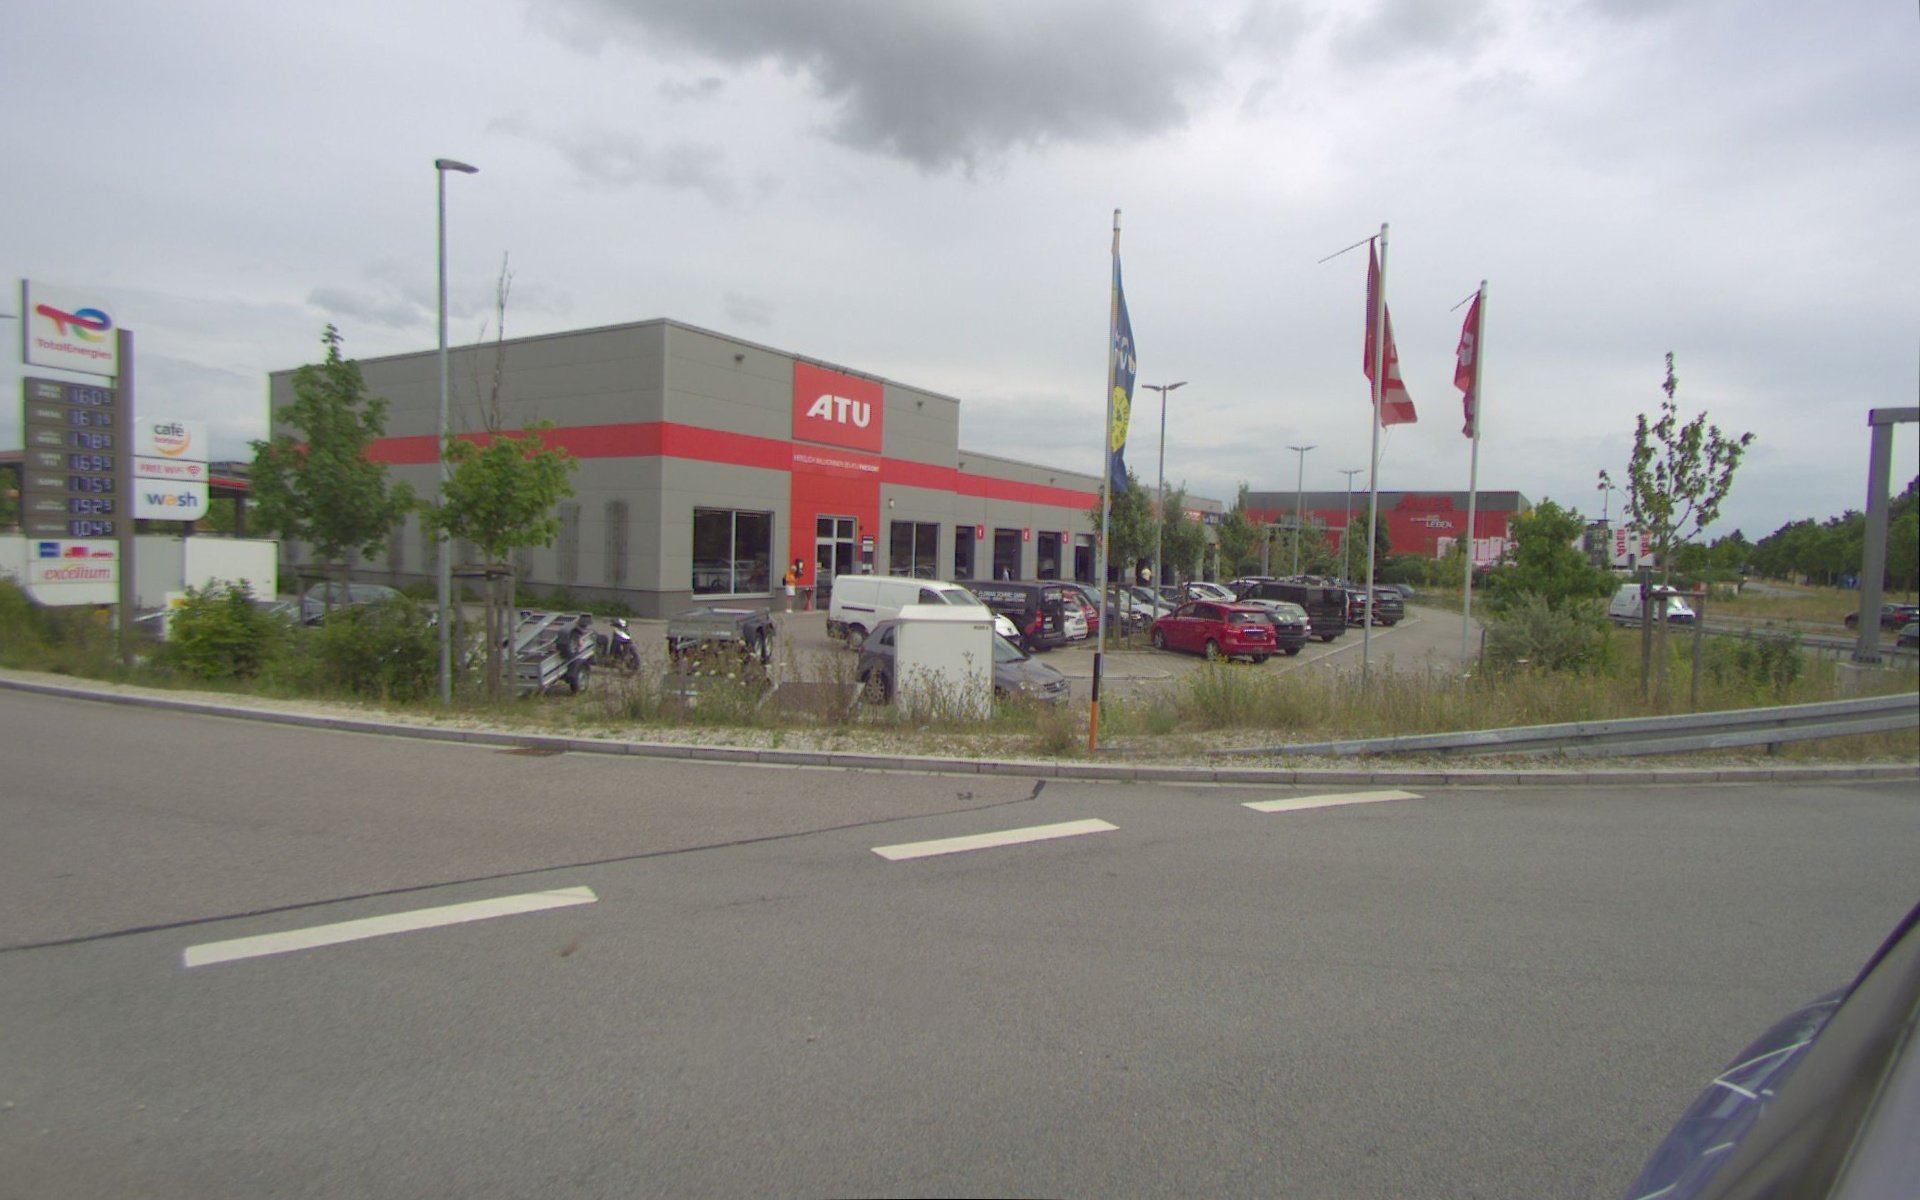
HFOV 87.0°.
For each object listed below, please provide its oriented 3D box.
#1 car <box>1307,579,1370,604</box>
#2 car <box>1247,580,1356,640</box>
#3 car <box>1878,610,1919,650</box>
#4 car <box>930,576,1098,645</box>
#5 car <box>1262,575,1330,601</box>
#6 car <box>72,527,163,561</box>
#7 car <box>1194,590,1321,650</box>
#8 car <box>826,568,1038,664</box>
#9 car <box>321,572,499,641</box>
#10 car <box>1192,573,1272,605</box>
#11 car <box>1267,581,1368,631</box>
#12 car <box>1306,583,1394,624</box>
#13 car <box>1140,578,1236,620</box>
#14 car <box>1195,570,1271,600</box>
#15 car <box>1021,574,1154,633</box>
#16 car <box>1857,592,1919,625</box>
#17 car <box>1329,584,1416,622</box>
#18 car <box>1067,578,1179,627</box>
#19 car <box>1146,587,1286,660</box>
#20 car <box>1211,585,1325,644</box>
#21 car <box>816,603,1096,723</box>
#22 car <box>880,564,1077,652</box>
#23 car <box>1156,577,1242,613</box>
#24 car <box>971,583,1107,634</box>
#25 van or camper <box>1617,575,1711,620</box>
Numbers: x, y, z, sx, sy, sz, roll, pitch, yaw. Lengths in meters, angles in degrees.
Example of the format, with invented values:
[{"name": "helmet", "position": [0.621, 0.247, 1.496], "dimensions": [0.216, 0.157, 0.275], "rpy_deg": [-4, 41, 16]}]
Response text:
[{"name": "car", "position": [24.469, -0.584, 65.405], "dimensions": [3.666, 1.564, 1.575], "rpy_deg": [1, 1, 29]}, {"name": "car", "position": [12.312, 0.308, 36.765], "dimensions": [1.866, 1.931, 4.086], "rpy_deg": [2, 1, -12]}, {"name": "car", "position": [39.418, 1.254, 40.843], "dimensions": [1.834, 1.429, 3.922], "rpy_deg": [1, 2, 15]}, {"name": "car", "position": [1.592, 0.244, 30.423], "dimensions": [4.635, 1.661, 1.896], "rpy_deg": [4, 3, 29]}, {"name": "car", "position": [20.308, -0.741, 61.183], "dimensions": [3.666, 1.564, 1.575], "rpy_deg": [1, 1, 29]}, {"name": "car", "position": [-50.106, -3.297, 60.256], "dimensions": [1.700, 1.816, 3.801], "rpy_deg": [1, 0, 28]}, {"name": "car", "position": [9.102, 0.571, 31.332], "dimensions": [1.734, 1.599, 4.087], "rpy_deg": [2, 2, -18]}, {"name": "car", "position": [-0.747, 0.306, 25.478], "dimensions": [5.034, 2.072, 1.980], "rpy_deg": [3, 2, 29]}, {"name": "car", "position": [-13.932, 0.120, 25.874], "dimensions": [3.661, 1.593, 1.922], "rpy_deg": [-2, 2, -18]}, {"name": "car", "position": [13.684, -0.572, 50.918], "dimensions": [3.666, 1.564, 1.575], "rpy_deg": [1, 1, 29]}, {"name": "car", "position": [14.013, 0.212, 39.928], "dimensions": [1.866, 1.732, 4.086], "rpy_deg": [2, 2, -12]}, {"name": "car", "position": [17.204, 0.119, 44.854], "dimensions": [1.616, 1.642, 4.085], "rpy_deg": [2, 1, -12]}, {"name": "car", "position": [9.602, -0.077, 42.707], "dimensions": [3.666, 1.658, 1.575], "rpy_deg": [1, 1, 29]}, {"name": "car", "position": [14.589, -0.814, 54.035], "dimensions": [3.666, 1.564, 1.575], "rpy_deg": [1, 1, 29]}, {"name": "car", "position": [4.258, 0.067, 33.924], "dimensions": [4.164, 1.859, 1.575], "rpy_deg": [1, 1, 29]}, {"name": "car", "position": [51.462, 0.440, 55.141], "dimensions": [1.862, 1.484, 4.271], "rpy_deg": [-2, 2, 10]}, {"name": "car", "position": [18.984, 0.100, 46.784], "dimensions": [1.700, 1.642, 4.085], "rpy_deg": [2, 0, -12]}, {"name": "car", "position": [5.856, 0.063, 36.414], "dimensions": [3.666, 1.658, 1.575], "rpy_deg": [1, 1, 29]}, {"name": "car", "position": [7.158, 0.590, 28.719], "dimensions": [1.734, 1.598, 4.089], "rpy_deg": [0, 5, -22]}, {"name": "car", "position": [10.435, 0.438, 34.624], "dimensions": [1.734, 1.598, 4.089], "rpy_deg": [2, 4, -15]}, {"name": "car", "position": [-0.116, 1.035, 18.596], "dimensions": [4.793, 1.696, 1.946], "rpy_deg": [3, 3, 29]}, {"name": "car", "position": [0.467, 0.137, 27.841], "dimensions": [5.035, 1.996, 1.980], "rpy_deg": [4, 3, 29]}, {"name": "car", "position": [11.242, -0.261, 47.658], "dimensions": [3.666, 1.658, 1.575], "rpy_deg": [1, 1, 29]}, {"name": "car", "position": [2.537, 0.237, 32.792], "dimensions": [4.164, 1.518, 1.575], "rpy_deg": [1, 1, 29]}, {"name": "van or camper", "position": [41.379, -0.200, 59.701], "dimensions": [2.017, 2.393, 5.535], "rpy_deg": [1, 2, 5]}]
